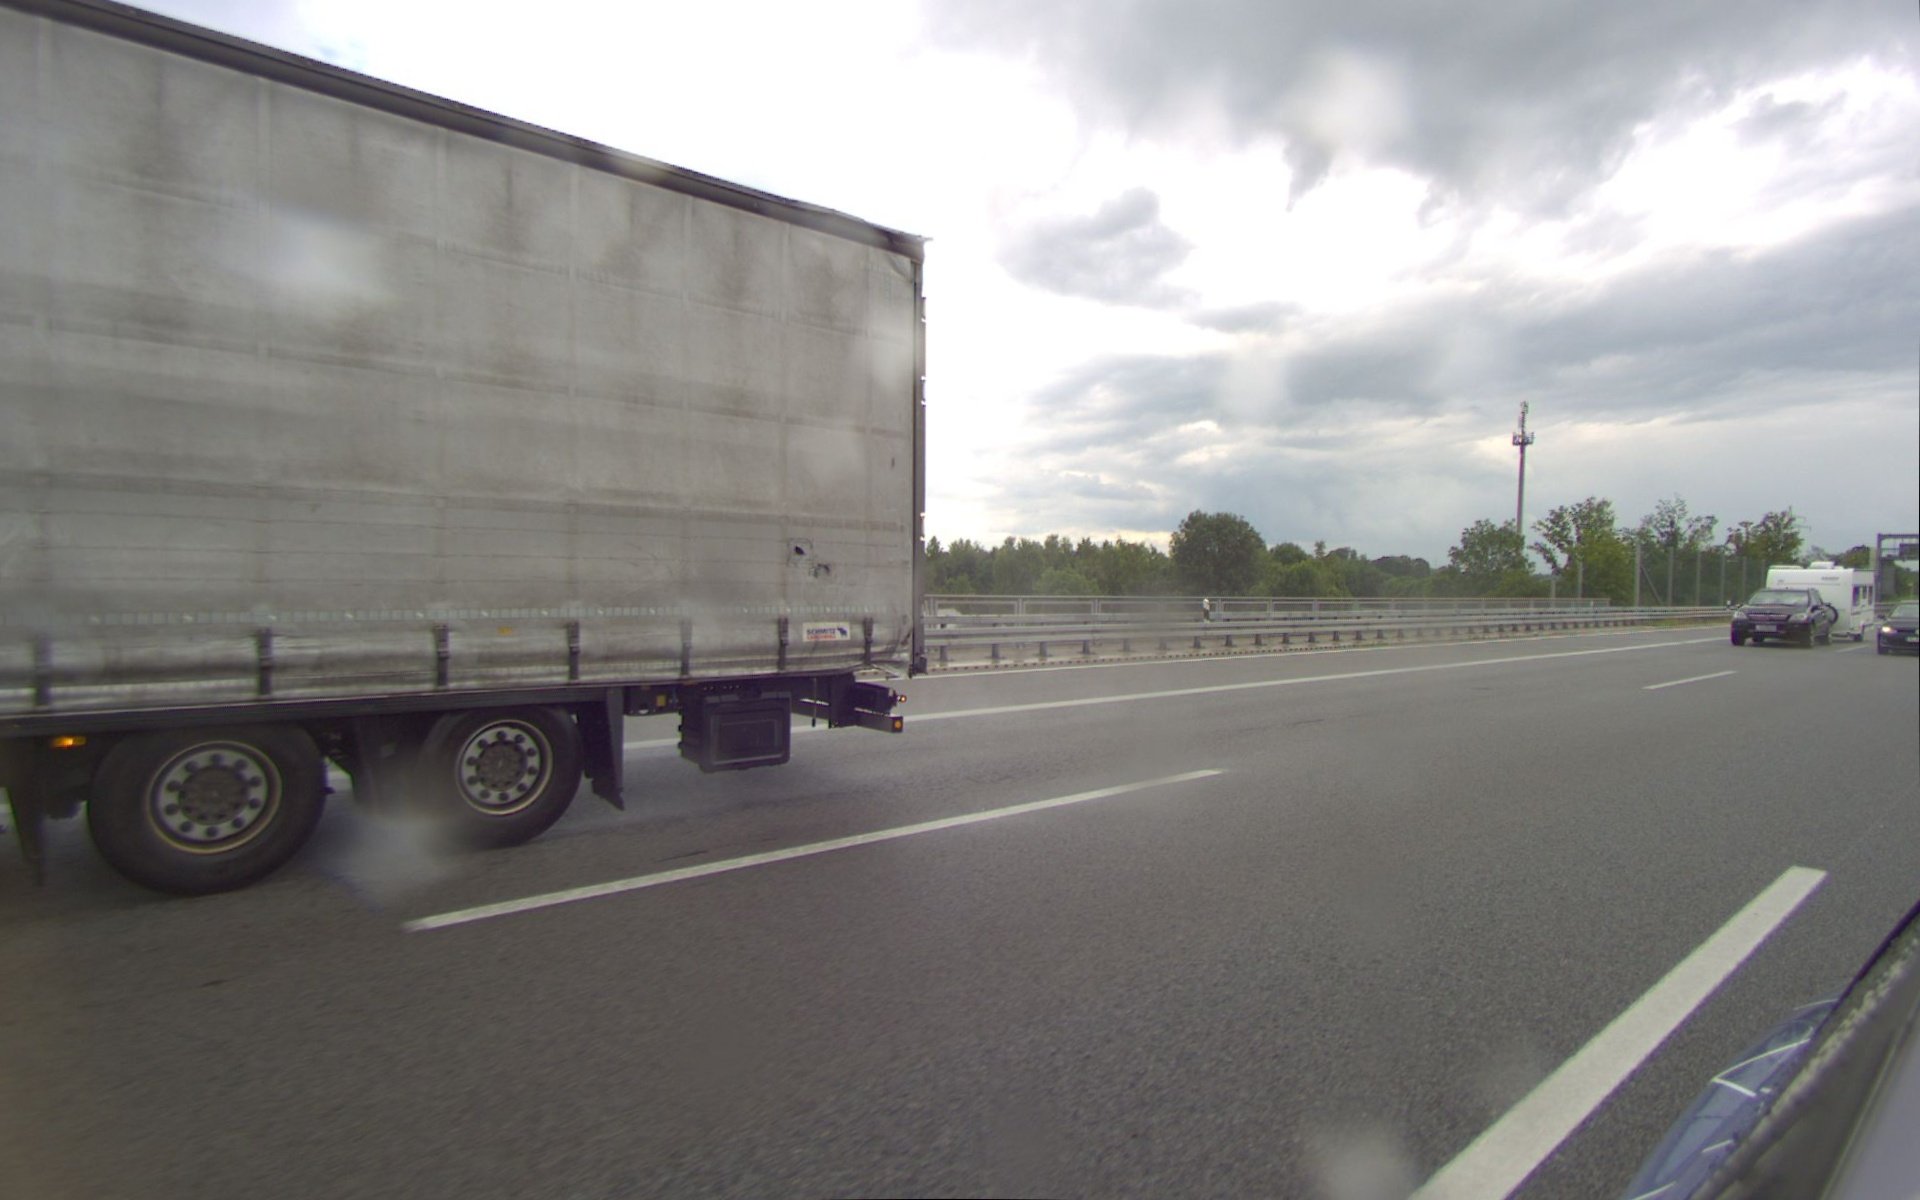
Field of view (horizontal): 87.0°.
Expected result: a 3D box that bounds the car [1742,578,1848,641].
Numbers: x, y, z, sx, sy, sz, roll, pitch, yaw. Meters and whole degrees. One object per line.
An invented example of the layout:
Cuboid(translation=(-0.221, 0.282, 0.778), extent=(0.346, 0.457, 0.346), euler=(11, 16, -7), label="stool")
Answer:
Cuboid(translation=(25.576, 0.253, 30.939), extent=(4.426, 1.798, 1.922), euler=(0, 0, -43), label="car")

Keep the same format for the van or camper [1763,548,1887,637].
Cuboid(translation=(29.850, -0.228, 34.807), extent=(7.085, 2.773, 2.387), euler=(0, 0, -42), label="van or camper")

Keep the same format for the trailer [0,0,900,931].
Cuboid(translation=(-6.604, -0.726, 3.700), extent=(13.872, 4.071, 2.966), euler=(1, 0, -42), label="trailer")

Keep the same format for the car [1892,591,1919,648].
Cuboid(translation=(26.366, 0.515, 27.133), extent=(3.932, 1.464, 1.715), euler=(0, 1, -43), label="car")
